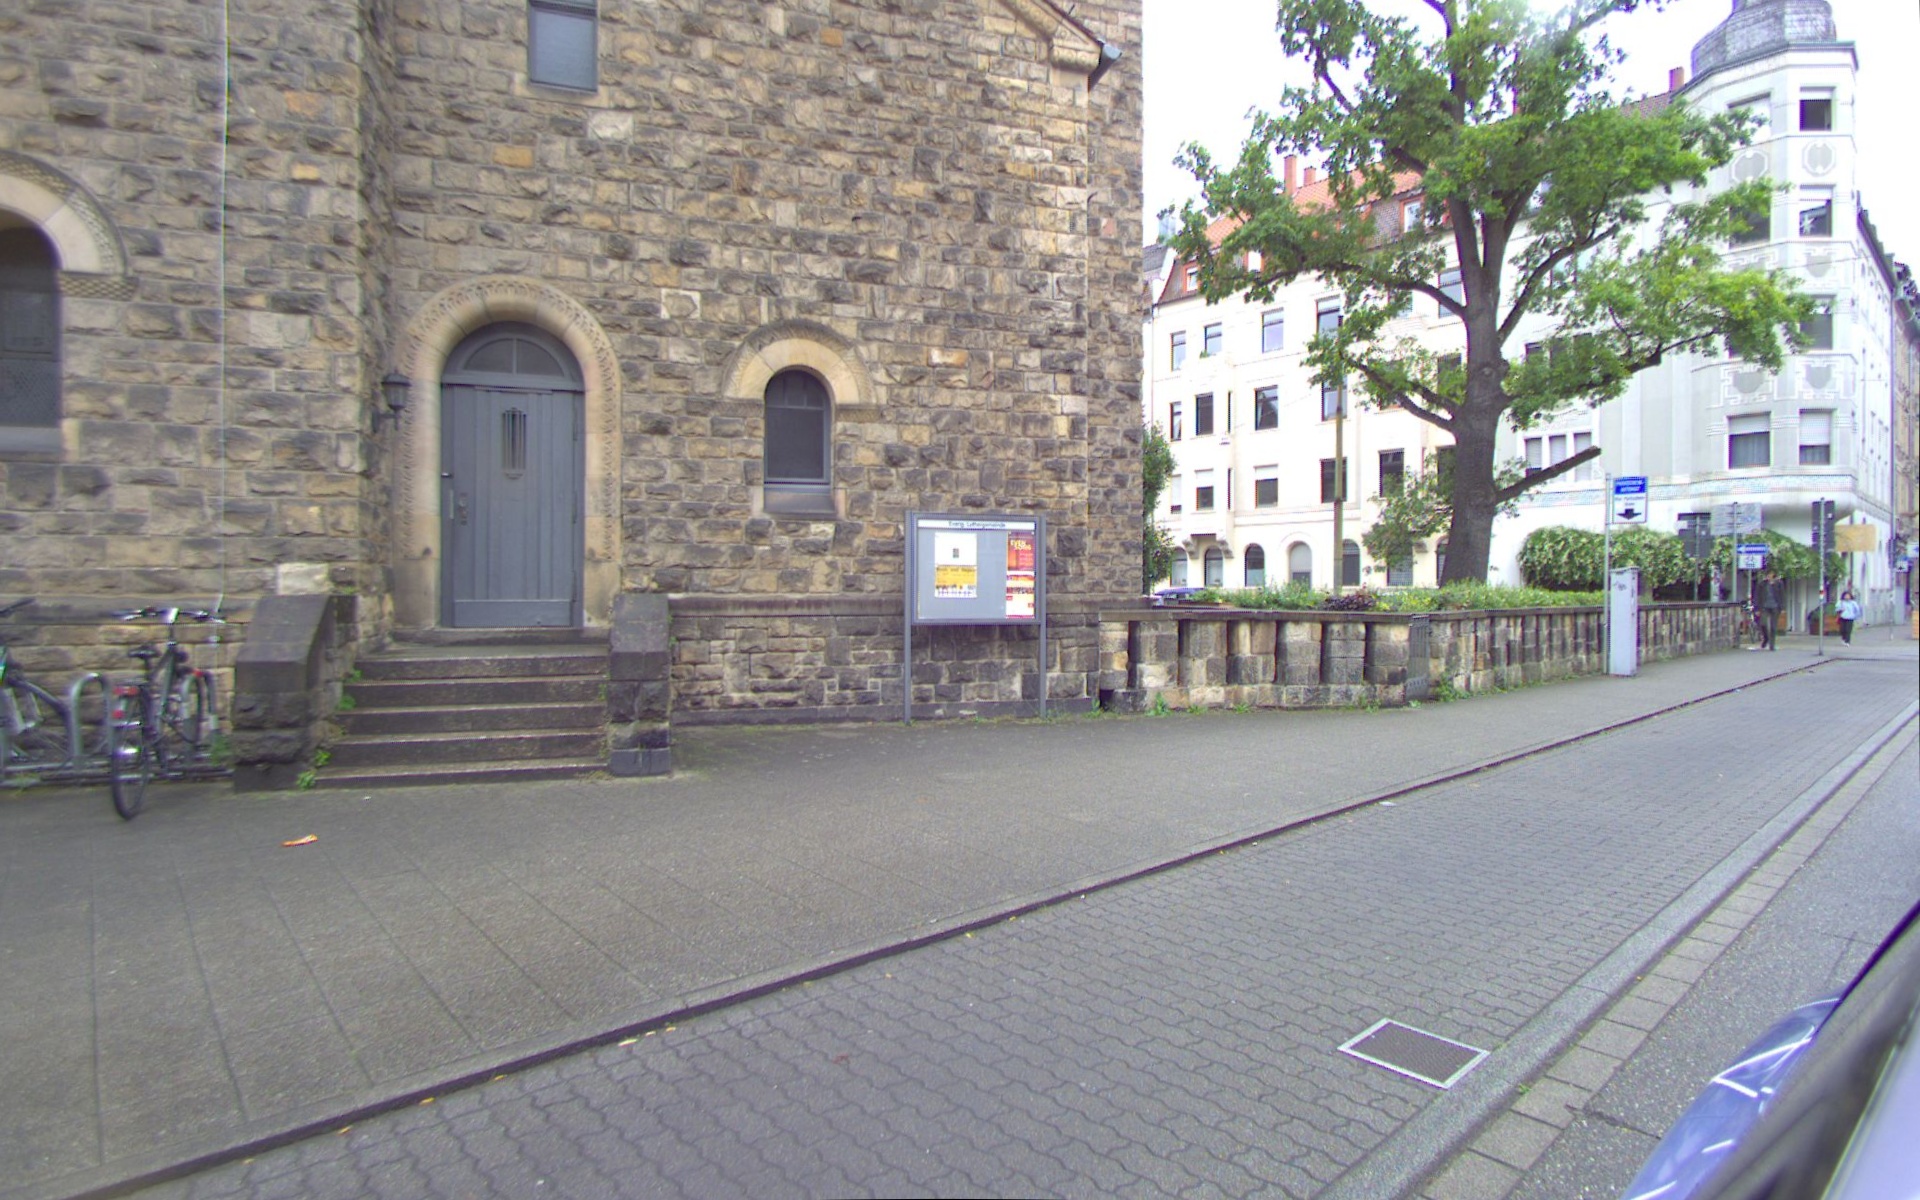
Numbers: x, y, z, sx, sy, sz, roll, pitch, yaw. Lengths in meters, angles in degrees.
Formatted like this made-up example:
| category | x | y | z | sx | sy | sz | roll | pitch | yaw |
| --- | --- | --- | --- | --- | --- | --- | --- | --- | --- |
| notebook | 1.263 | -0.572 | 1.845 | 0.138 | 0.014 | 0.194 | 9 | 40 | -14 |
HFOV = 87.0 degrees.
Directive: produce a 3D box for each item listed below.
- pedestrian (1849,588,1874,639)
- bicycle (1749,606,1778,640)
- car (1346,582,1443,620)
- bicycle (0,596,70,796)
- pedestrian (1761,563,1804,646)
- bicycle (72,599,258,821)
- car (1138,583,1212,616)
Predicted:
| category | x | y | z | sx | sy | sz | roll | pitch | yaw |
| --- | --- | --- | --- | --- | --- | --- | --- | --- | --- |
| pedestrian | 26.211 | 0.389 | 29.437 | 0.385 | 1.479 | 0.481 | 0 | 1 | -42 |
| bicycle | 24.689 | 0.686 | 31.085 | 1.990 | 0.904 | 0.390 | -3 | 3 | -42 |
| car | 17.175 | 0.009 | 40.114 | 1.421 | 1.427 | 3.271 | 0 | 1 | -38 |
| bicycle | -6.051 | 0.578 | 6.137 | 0.550 | 1.125 | 1.717 | 0 | 3 | -27 |
| pedestrian | 19.254 | 0.091 | 23.689 | 0.681 | 1.896 | 0.645 | 0 | 1 | -42 |
| bicycle | -4.842 | 0.576 | 6.282 | 0.502 | 1.067 | 1.994 | 0 | 3 | -27 |
| car | 10.088 | -0.054 | 47.603 | 1.421 | 1.427 | 3.271 | 0 | 1 | -38 |
